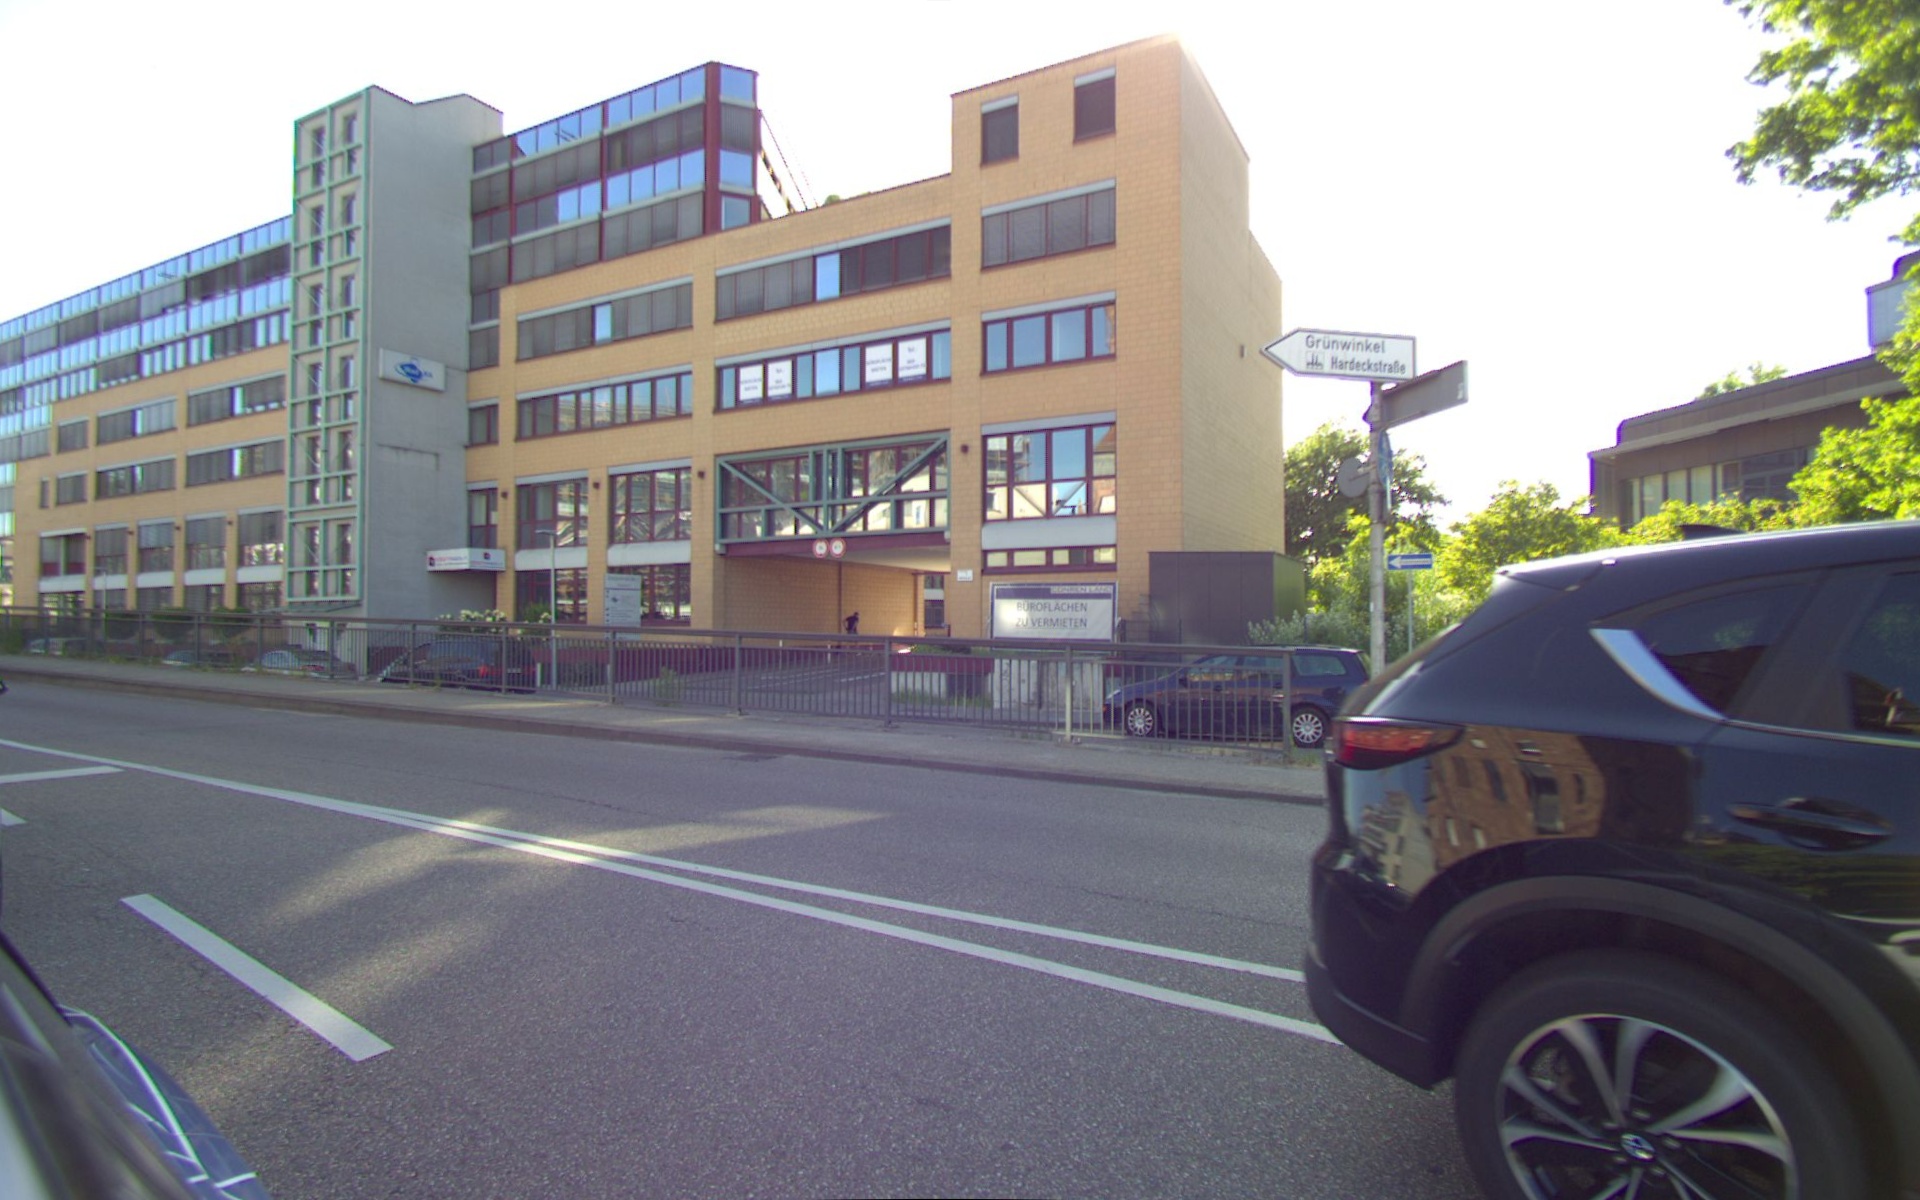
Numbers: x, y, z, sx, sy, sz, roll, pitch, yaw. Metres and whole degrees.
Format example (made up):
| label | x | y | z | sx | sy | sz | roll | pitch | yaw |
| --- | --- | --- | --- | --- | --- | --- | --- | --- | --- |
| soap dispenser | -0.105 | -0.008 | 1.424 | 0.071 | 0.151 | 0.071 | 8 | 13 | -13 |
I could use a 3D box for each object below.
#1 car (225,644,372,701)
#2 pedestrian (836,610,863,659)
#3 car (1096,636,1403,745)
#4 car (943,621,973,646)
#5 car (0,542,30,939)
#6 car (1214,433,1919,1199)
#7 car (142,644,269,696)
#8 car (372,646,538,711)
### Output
| label | x | y | z | sx | sy | sz | roll | pitch | yaw |
| --- | --- | --- | --- | --- | --- | --- | --- | --- | --- |
| car | -19.439 | 2.095 | 29.715 | 4.141 | 1.535 | 1.863 | -2 | -2 | 28 |
| pedestrian | -4.298 | 1.344 | 39.335 | 0.703 | 1.865 | 0.739 | -2 | -1 | 34 |
| car | 4.489 | 1.405 | 15.988 | 4.365 | 1.520 | 1.641 | -3 | -5 | 33 |
| car | -0.144 | 2.279 | 68.692 | 1.741 | 1.532 | 4.004 | -1 | 0 | -4 |
| car | -6.056 | 0.609 | 4.995 | 4.197 | 1.634 | 1.853 | -2 | -3 | 43 |
| car | 2.825 | 0.571 | 1.852 | 4.195 | 1.722 | 1.854 | -2 | -3 | 42 |
| car | -24.303 | 2.219 | 32.589 | 3.984 | 1.576 | 1.866 | -2 | -2 | 30 |
| car | -12.906 | 1.955 | 25.844 | 4.137 | 1.535 | 1.624 | -2 | -2 | 26 |
